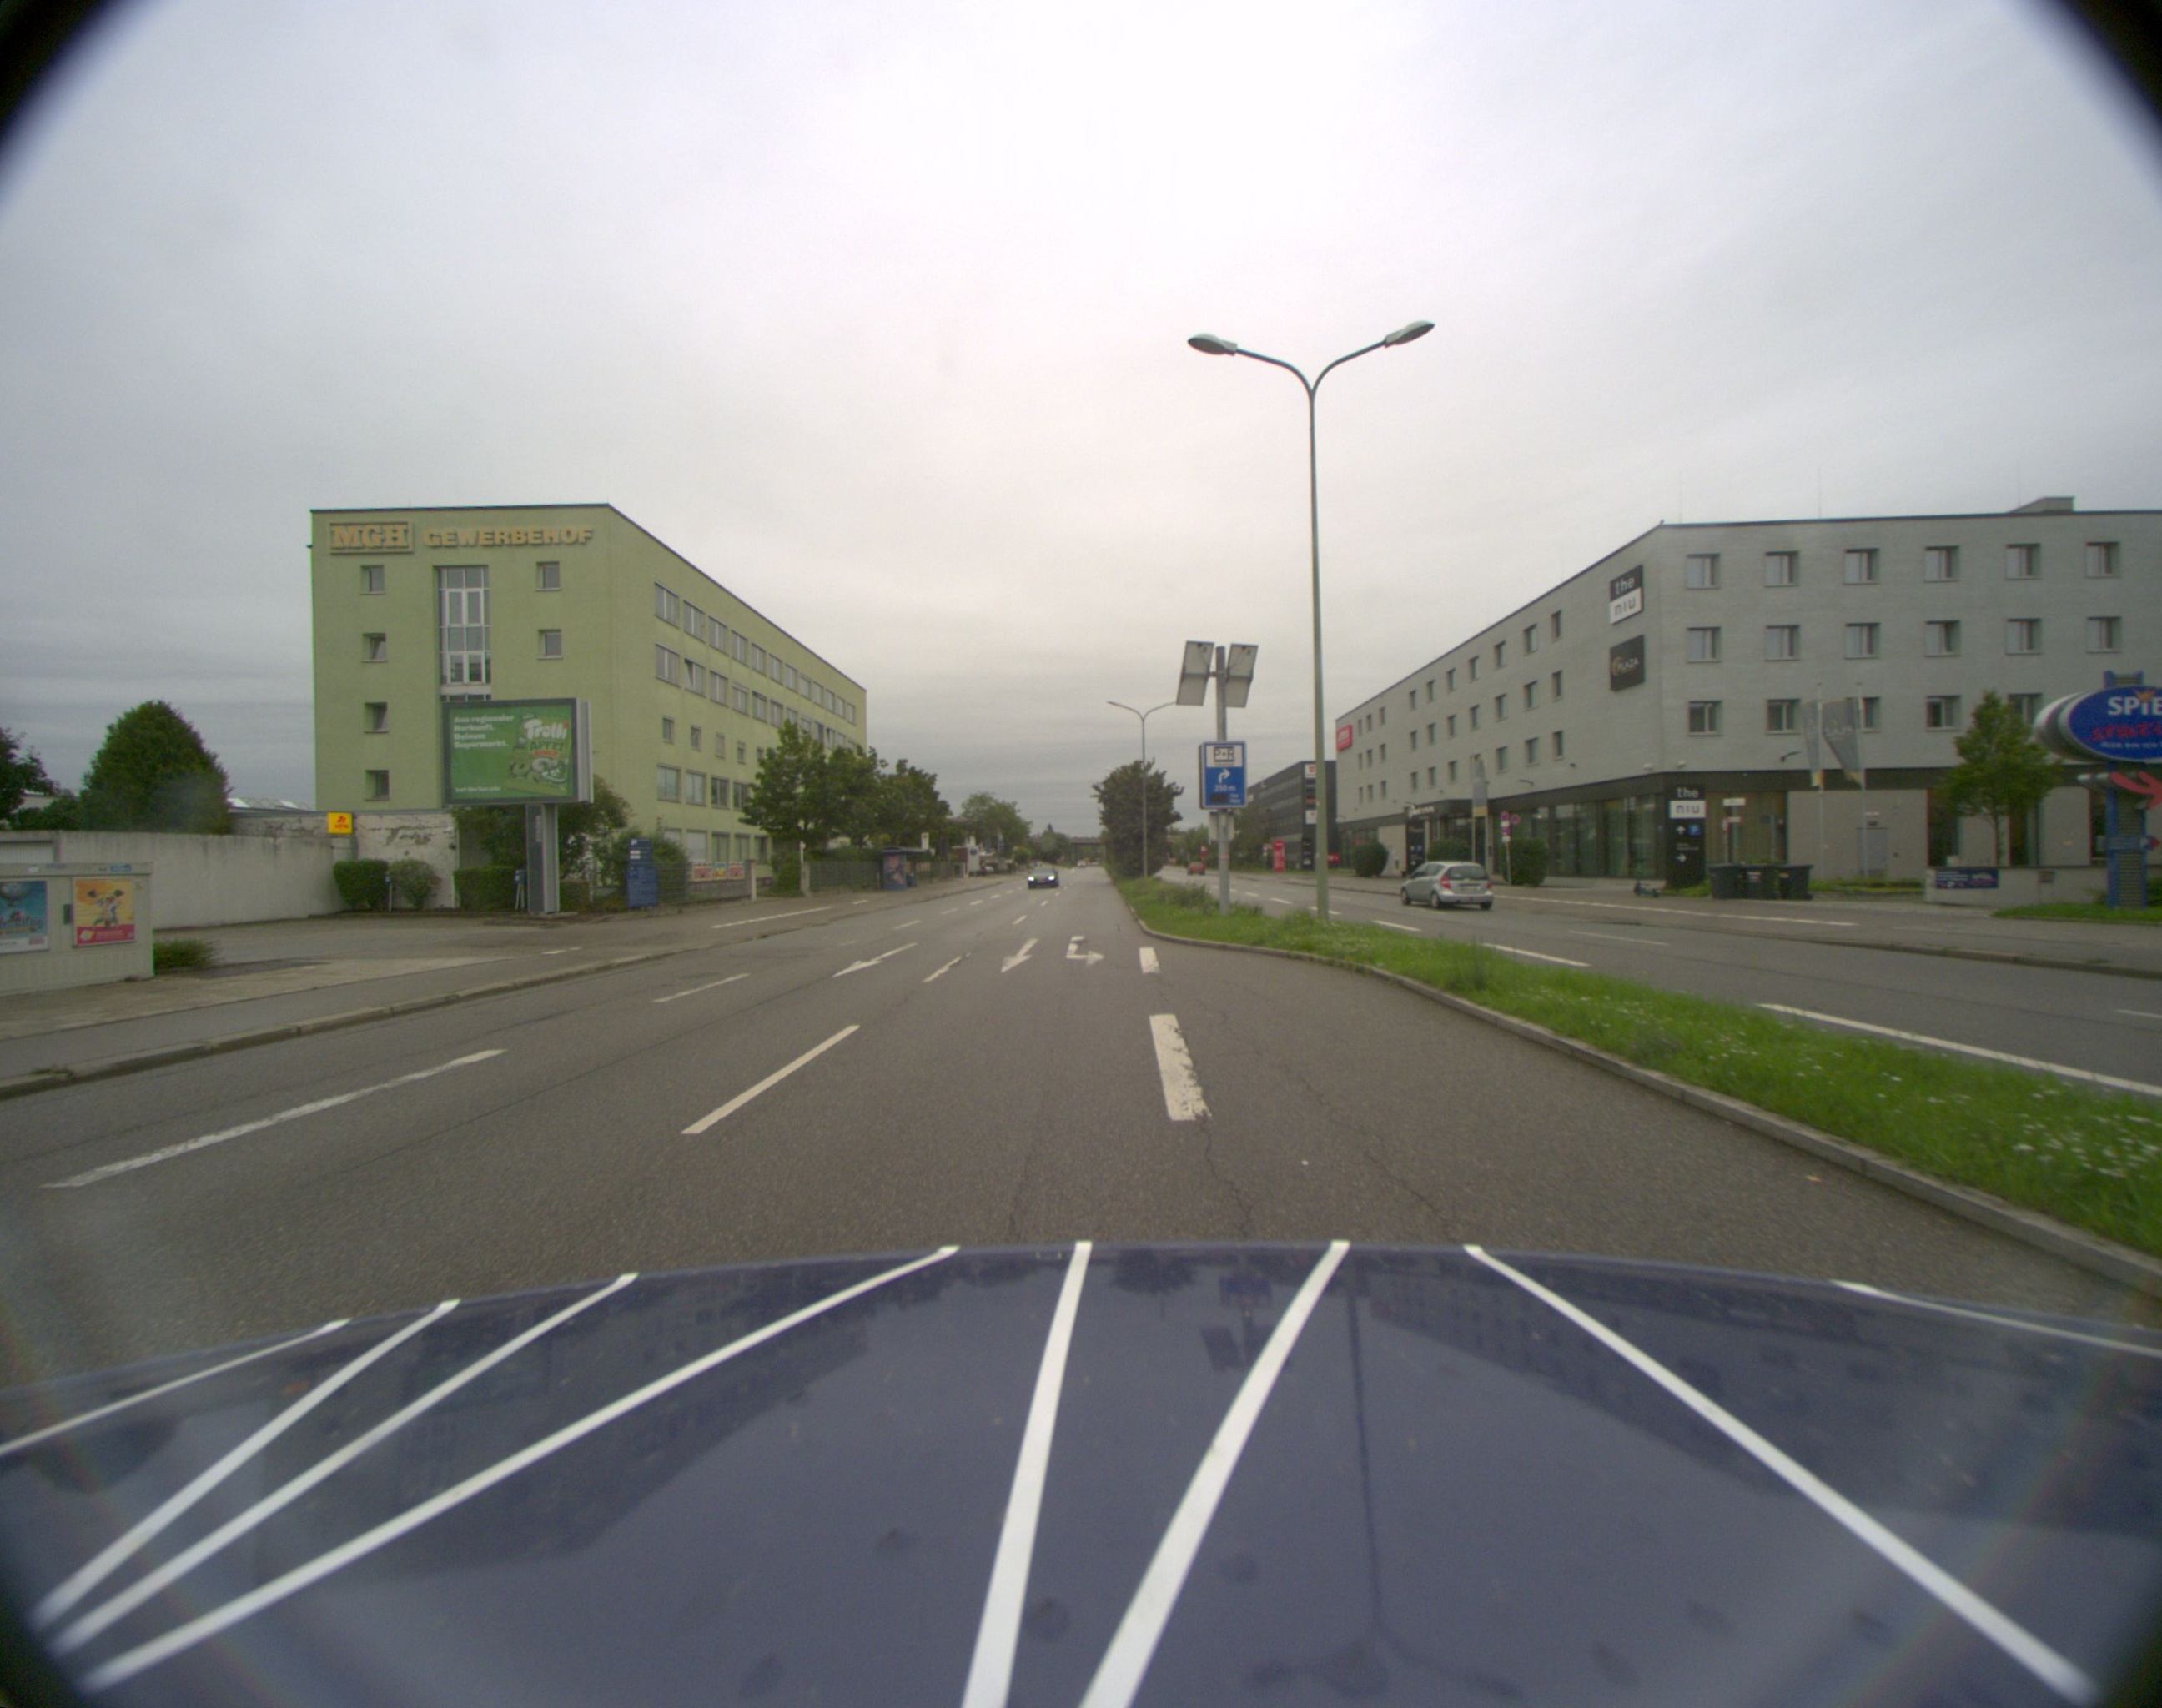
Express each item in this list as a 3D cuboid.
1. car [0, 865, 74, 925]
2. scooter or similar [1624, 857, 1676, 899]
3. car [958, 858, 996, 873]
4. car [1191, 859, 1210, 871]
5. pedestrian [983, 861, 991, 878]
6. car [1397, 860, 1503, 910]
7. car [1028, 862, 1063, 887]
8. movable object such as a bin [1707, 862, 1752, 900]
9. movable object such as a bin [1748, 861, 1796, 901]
[{"bbox_3d":[-26.968,1.017,17.614,1.829,1.430,4.000,-2,0,2],"label":"car"},{"bbox_3d":[18.507,0.767,24.742,0.587,1.270,1.404,-6,0,2],"label":"scooter or similar"},{"bbox_3d":[-14.019,1.565,102.220,4.651,1.831,1.798,-2,0,-21],"label":"car"},{"bbox_3d":[14.943,1.358,95.233,1.740,1.539,4.304,0,0,1],"label":"car"},{"bbox_3d":[-10.728,1.773,86.720,0.683,1.810,0.688,-2,0,1],"label":"pedestrian"},{"bbox_3d":[12.401,0.990,25.801,1.818,1.548,4.027,0,0,3],"label":"car"},{"bbox_3d":[-2.336,1.337,51.209,1.916,1.498,4.440,-2,0,2],"label":"car"},{"bbox_3d":[19.156,0.785,22.440,0.739,1.072,0.655,-2,0,2],"label":"movable object such as a bin"},{"bbox_3d":[19.734,0.762,21.704,0.739,1.072,0.655,-2,0,2],"label":"movable object such as a bin"}]
